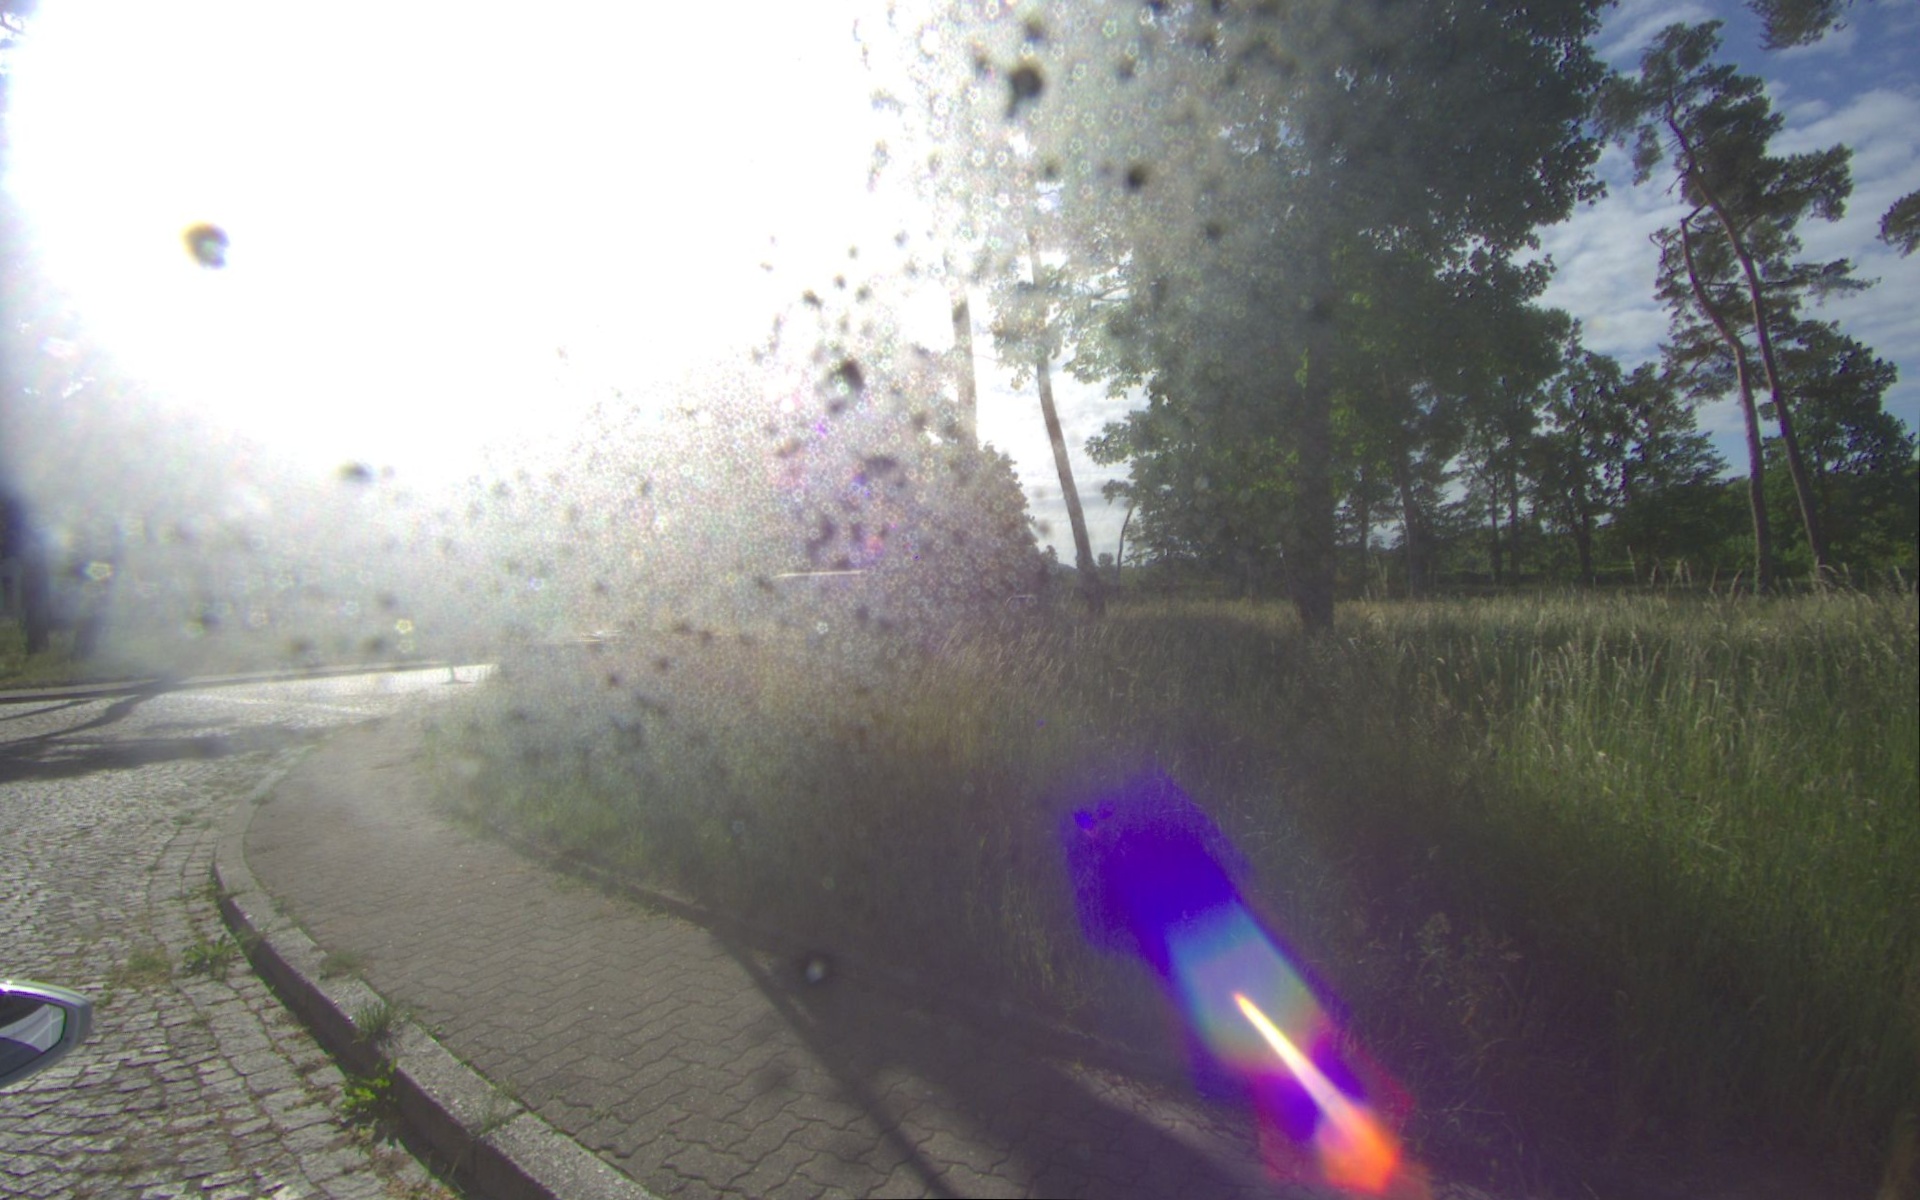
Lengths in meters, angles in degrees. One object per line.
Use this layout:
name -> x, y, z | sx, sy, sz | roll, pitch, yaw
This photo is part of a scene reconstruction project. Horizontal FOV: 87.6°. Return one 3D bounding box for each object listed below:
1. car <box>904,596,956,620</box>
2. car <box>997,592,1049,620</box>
car -> -1.941, 0.485, 66.052 | 1.818, 1.483, 3.985 | -1, 0, 26
car -> 3.910, 0.371, 61.714 | 1.826, 1.620, 3.985 | -1, 1, 26
